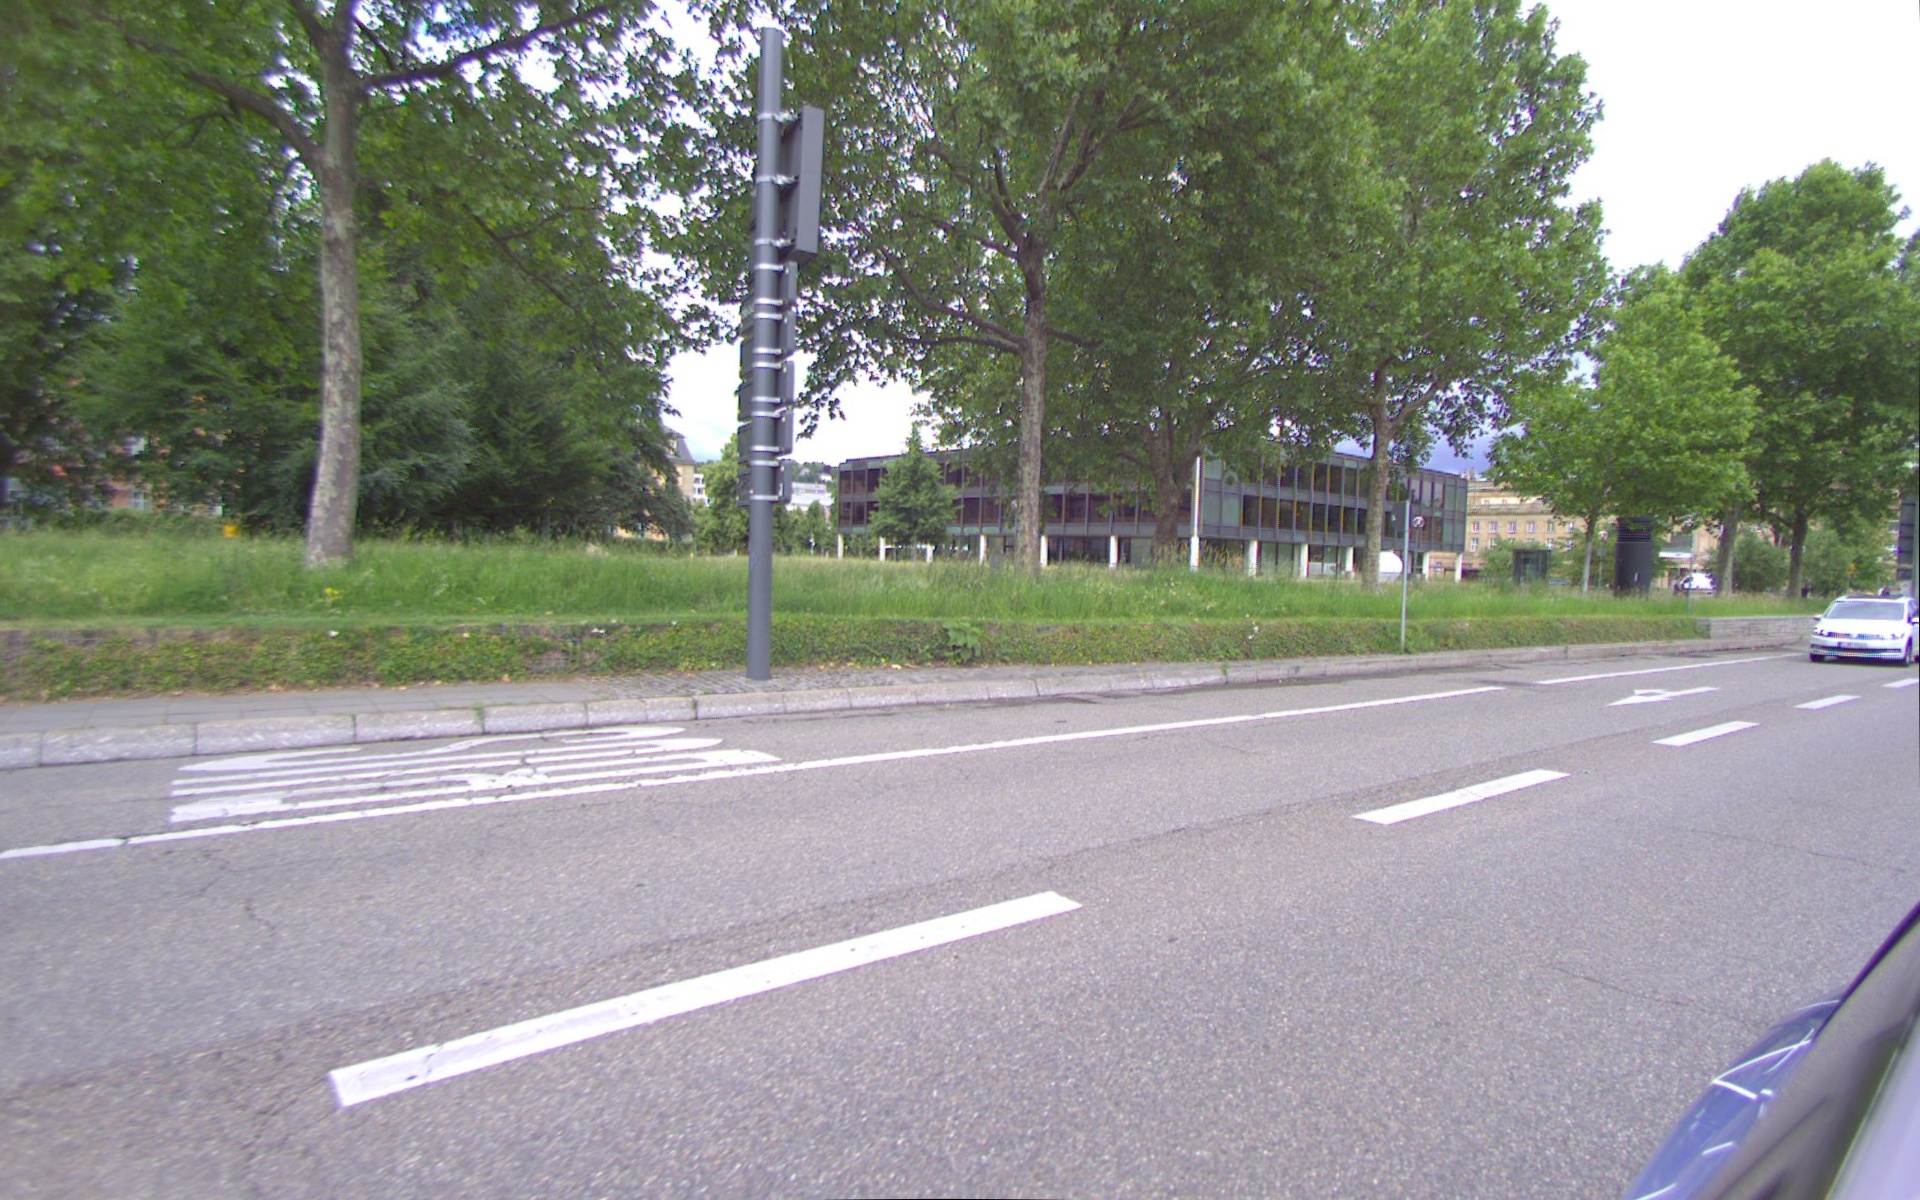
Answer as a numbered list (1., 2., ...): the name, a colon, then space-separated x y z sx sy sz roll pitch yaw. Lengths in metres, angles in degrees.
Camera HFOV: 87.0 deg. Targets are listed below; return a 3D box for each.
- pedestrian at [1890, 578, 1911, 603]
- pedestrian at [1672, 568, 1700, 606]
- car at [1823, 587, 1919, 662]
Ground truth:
1. pedestrian: 64.262 -0.646 69.141 0.614 1.646 0.805 1 2 -32
2. pedestrian: 36.762 -0.668 51.221 1.026 1.859 0.984 0 1 43
3. car: 22.527 0.518 24.543 3.928 1.613 1.696 -1 3 -39
